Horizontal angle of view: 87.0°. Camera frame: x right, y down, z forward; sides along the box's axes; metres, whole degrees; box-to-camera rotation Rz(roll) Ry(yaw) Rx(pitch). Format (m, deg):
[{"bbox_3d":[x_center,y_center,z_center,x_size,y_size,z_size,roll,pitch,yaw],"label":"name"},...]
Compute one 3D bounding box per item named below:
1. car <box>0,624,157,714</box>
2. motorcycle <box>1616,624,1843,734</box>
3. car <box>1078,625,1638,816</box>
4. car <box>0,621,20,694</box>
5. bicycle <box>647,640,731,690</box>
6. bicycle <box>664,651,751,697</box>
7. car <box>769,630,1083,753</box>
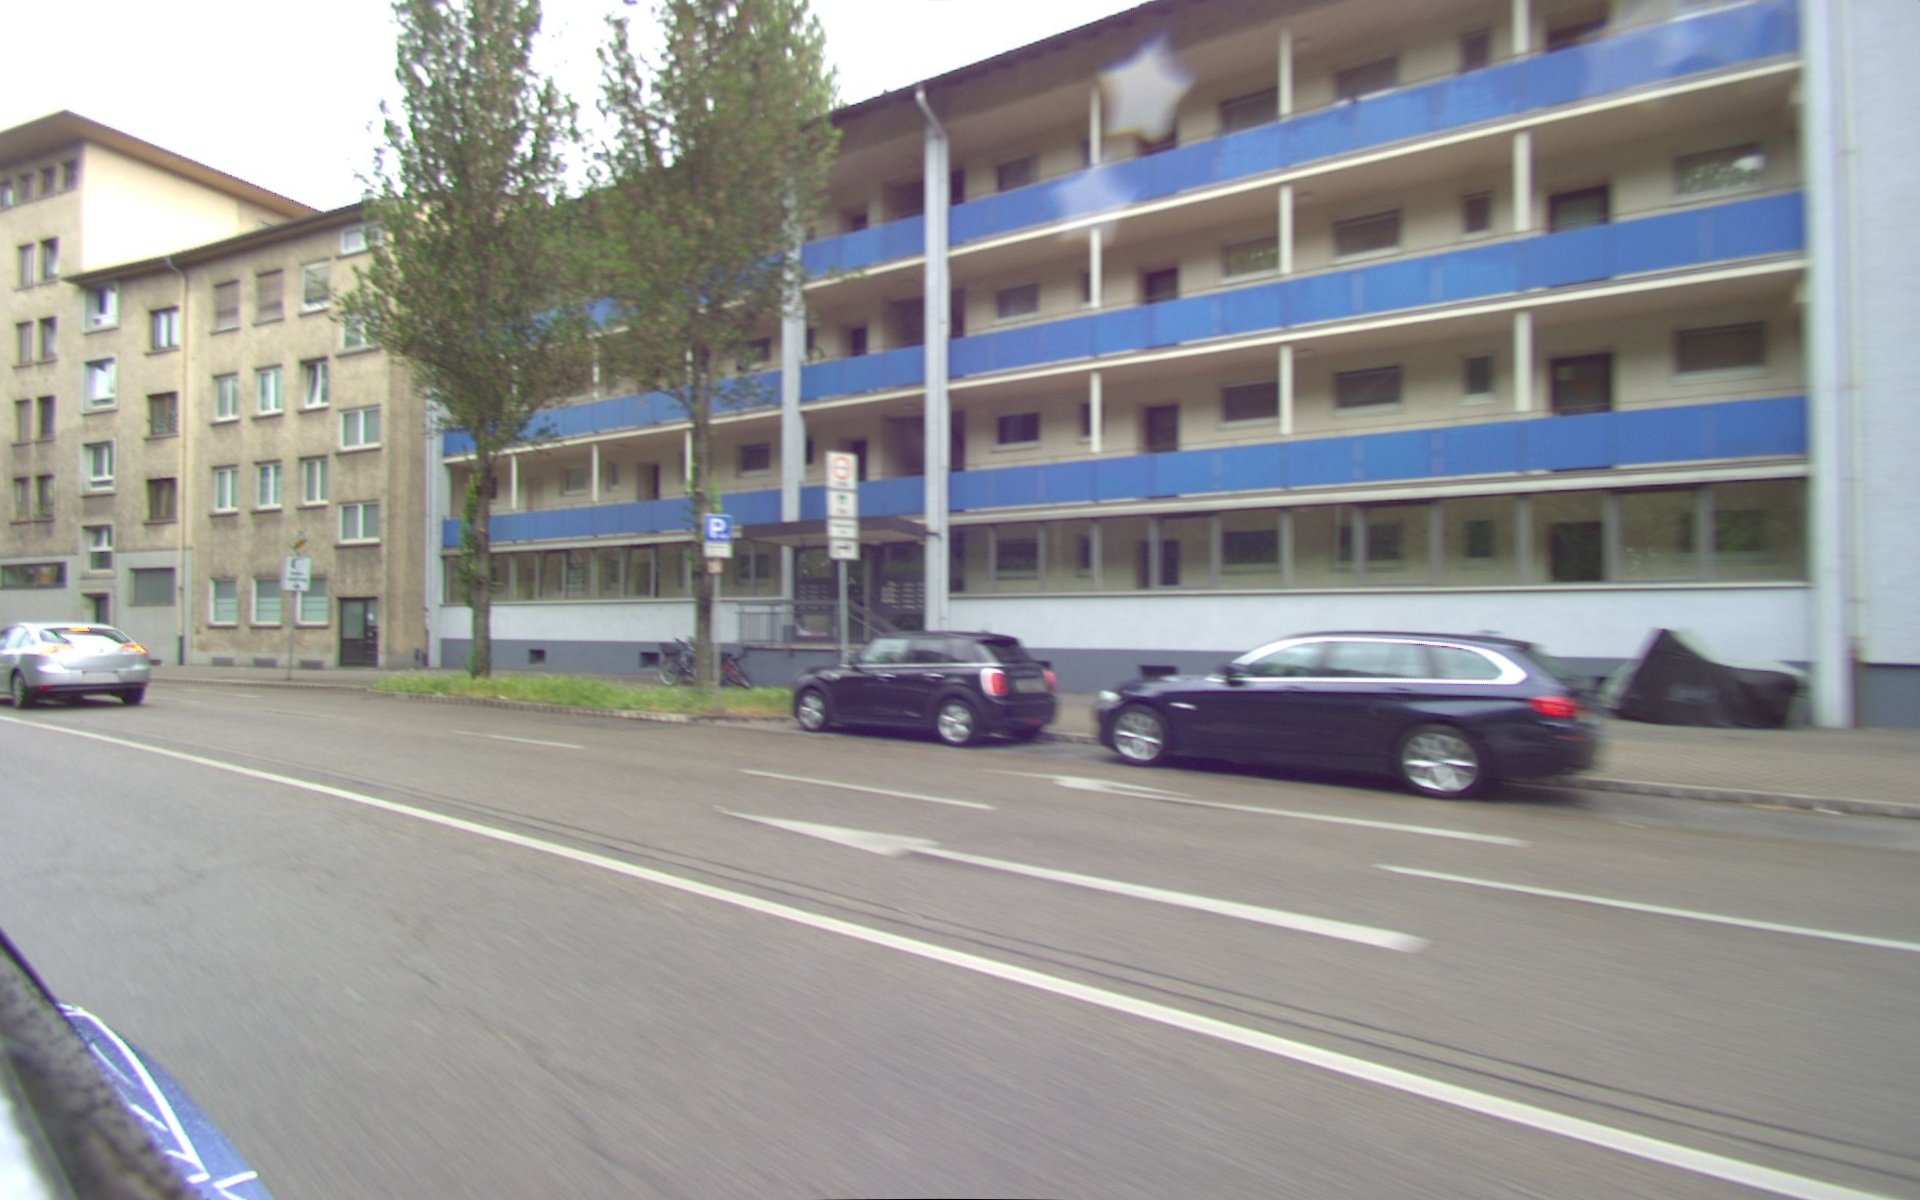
[{"bbox_3d":[-16.428,1.167,18.130,4.520,1.436,1.739,-1,-2,31],"label":"car"},{"bbox_3d":[9.664,0.953,12.838,2.231,1.263,0.669,-1,0,35],"label":"motorcycle"},{"bbox_3d":[3.738,1.018,10.095,4.888,1.450,1.802,-1,-3,39],"label":"car"},{"bbox_3d":[-22.670,1.218,21.999,5.006,1.528,1.808,-1,-3,29],"label":"car"},{"bbox_3d":[-5.752,1.361,21.499,1.722,1.031,0.609,-1,-2,23],"label":"bicycle"},{"bbox_3d":[-5.078,1.471,20.339,1.734,0.832,0.662,-1,1,31],"label":"bicycle"},{"bbox_3d":[-0.544,1.145,13.699,4.083,1.414,1.762,-1,-4,39],"label":"car"}]
